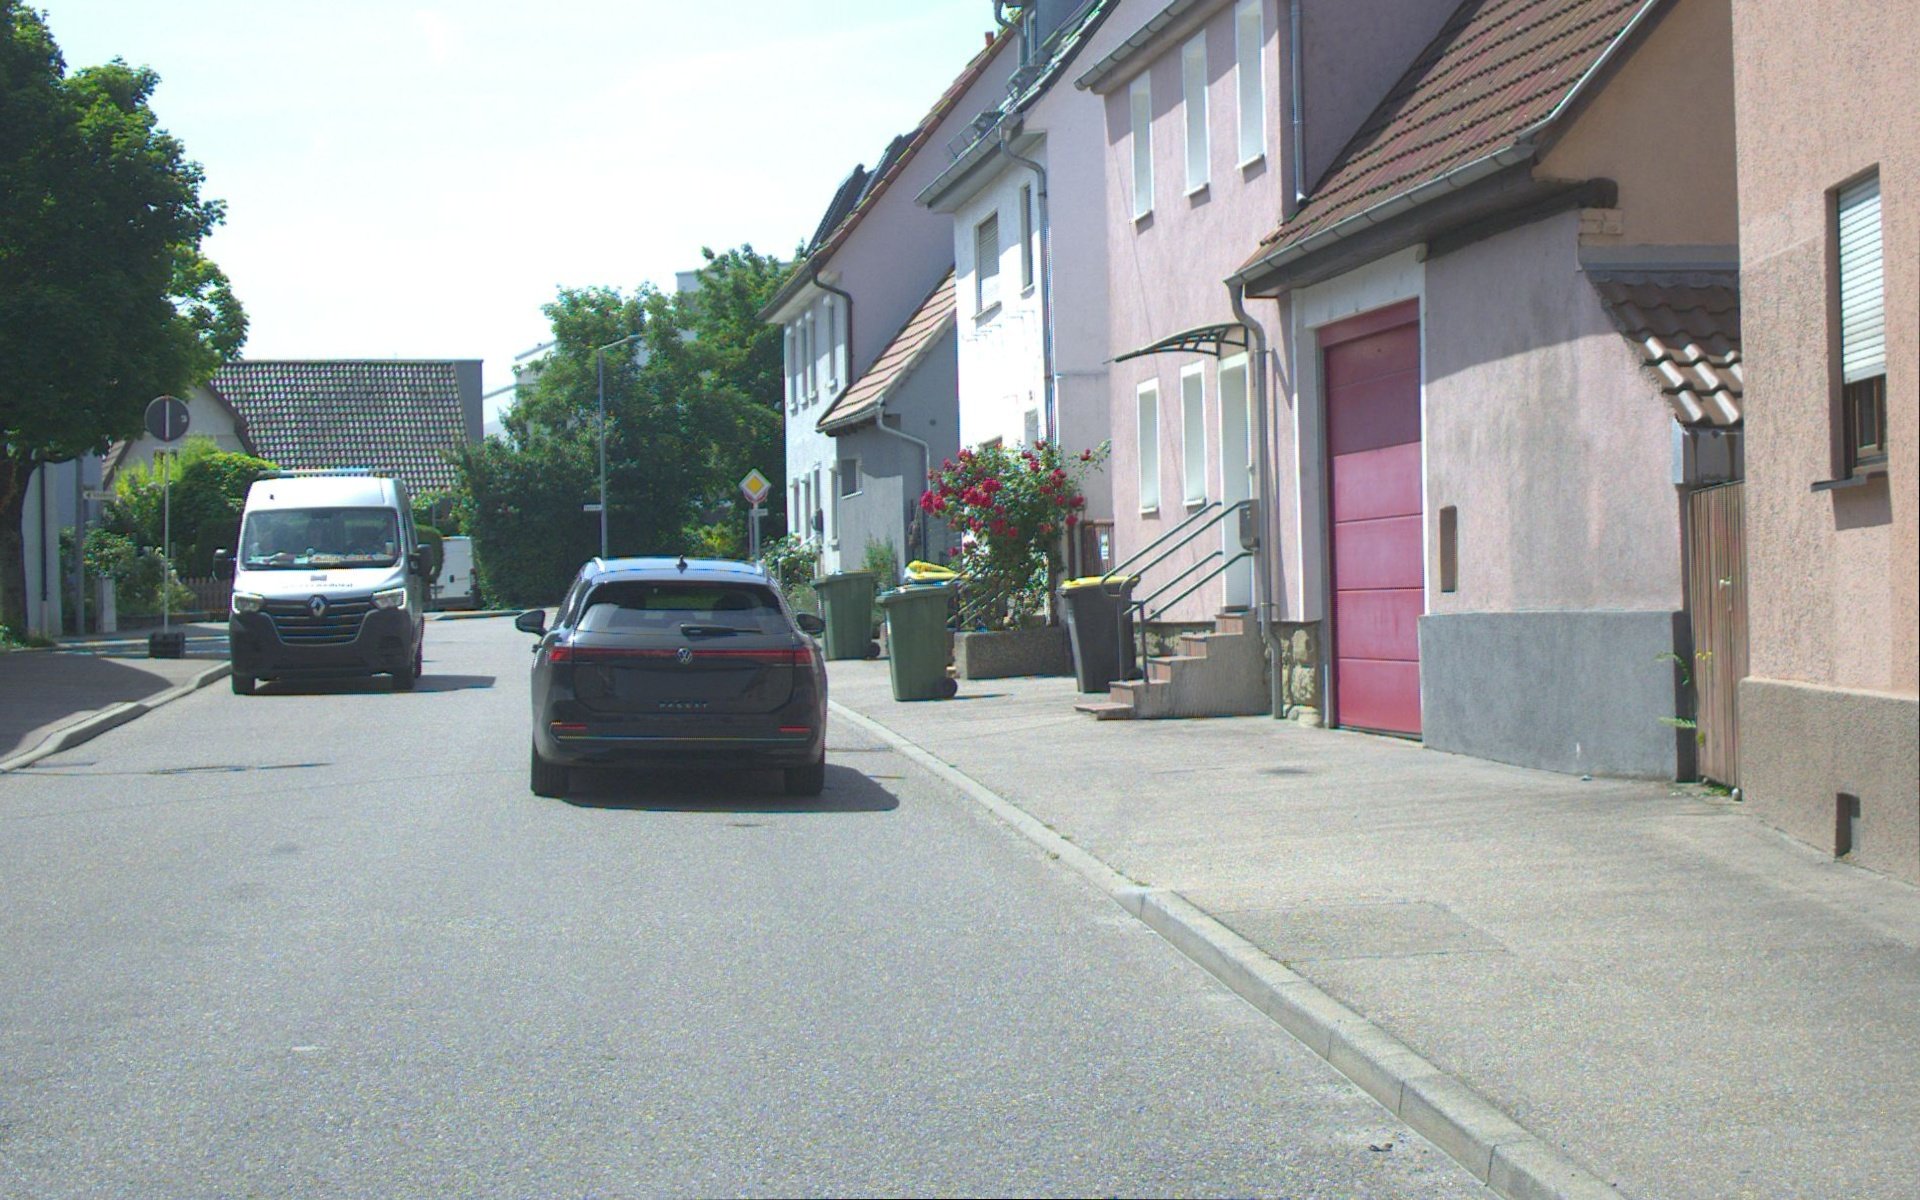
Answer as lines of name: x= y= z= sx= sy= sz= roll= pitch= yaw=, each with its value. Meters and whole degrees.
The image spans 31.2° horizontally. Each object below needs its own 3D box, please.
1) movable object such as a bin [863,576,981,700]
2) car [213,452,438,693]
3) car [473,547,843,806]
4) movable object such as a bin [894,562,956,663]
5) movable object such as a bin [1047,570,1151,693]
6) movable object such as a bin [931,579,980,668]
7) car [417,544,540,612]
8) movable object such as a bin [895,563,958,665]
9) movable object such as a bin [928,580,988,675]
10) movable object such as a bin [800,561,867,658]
movable object such as a bin: x=-0.368 y=0.347 z=32.411 sx=0.875 sy=1.071 sz=0.873 roll=-5 pitch=2 yaw=-11
car: x=-7.304 y=-0.345 z=40.115 sx=2.114 sy=2.554 sz=5.828 roll=-1 pitch=1 yaw=-6
car: x=-2.057 y=0.416 z=22.126 sx=1.841 sy=1.415 sz=4.684 roll=1 pitch=1 yaw=-11
movable object such as a bin: x=-0.422 y=0.140 z=41.227 sx=0.664 sy=1.190 sz=0.660 roll=-1 pitch=1 yaw=-7
movable object such as a bin: x=1.260 y=0.281 z=31.321 sx=0.678 sy=1.046 sz=0.835 roll=-5 pitch=2 yaw=-11
movable object such as a bin: x=-0.052 y=0.264 z=39.120 sx=0.503 sy=0.990 sz=0.442 roll=-1 pitch=1 yaw=-7
car: x=-14.828 y=-0.706 z=106.165 sx=2.129 sy=2.007 sz=4.935 roll=0 pitch=1 yaw=13
movable object such as a bin: x=-0.396 y=0.162 z=40.538 sx=0.664 sy=1.190 sz=0.588 roll=-1 pitch=1 yaw=-7
movable object such as a bin: x=-0.028 y=0.301 z=38.159 sx=0.592 sy=1.036 sz=0.531 roll=-1 pitch=1 yaw=-7
movable object such as a bin: x=-1.523 y=0.105 z=41.323 sx=0.678 sy=1.151 sz=0.820 roll=0 pitch=1 yaw=-11
